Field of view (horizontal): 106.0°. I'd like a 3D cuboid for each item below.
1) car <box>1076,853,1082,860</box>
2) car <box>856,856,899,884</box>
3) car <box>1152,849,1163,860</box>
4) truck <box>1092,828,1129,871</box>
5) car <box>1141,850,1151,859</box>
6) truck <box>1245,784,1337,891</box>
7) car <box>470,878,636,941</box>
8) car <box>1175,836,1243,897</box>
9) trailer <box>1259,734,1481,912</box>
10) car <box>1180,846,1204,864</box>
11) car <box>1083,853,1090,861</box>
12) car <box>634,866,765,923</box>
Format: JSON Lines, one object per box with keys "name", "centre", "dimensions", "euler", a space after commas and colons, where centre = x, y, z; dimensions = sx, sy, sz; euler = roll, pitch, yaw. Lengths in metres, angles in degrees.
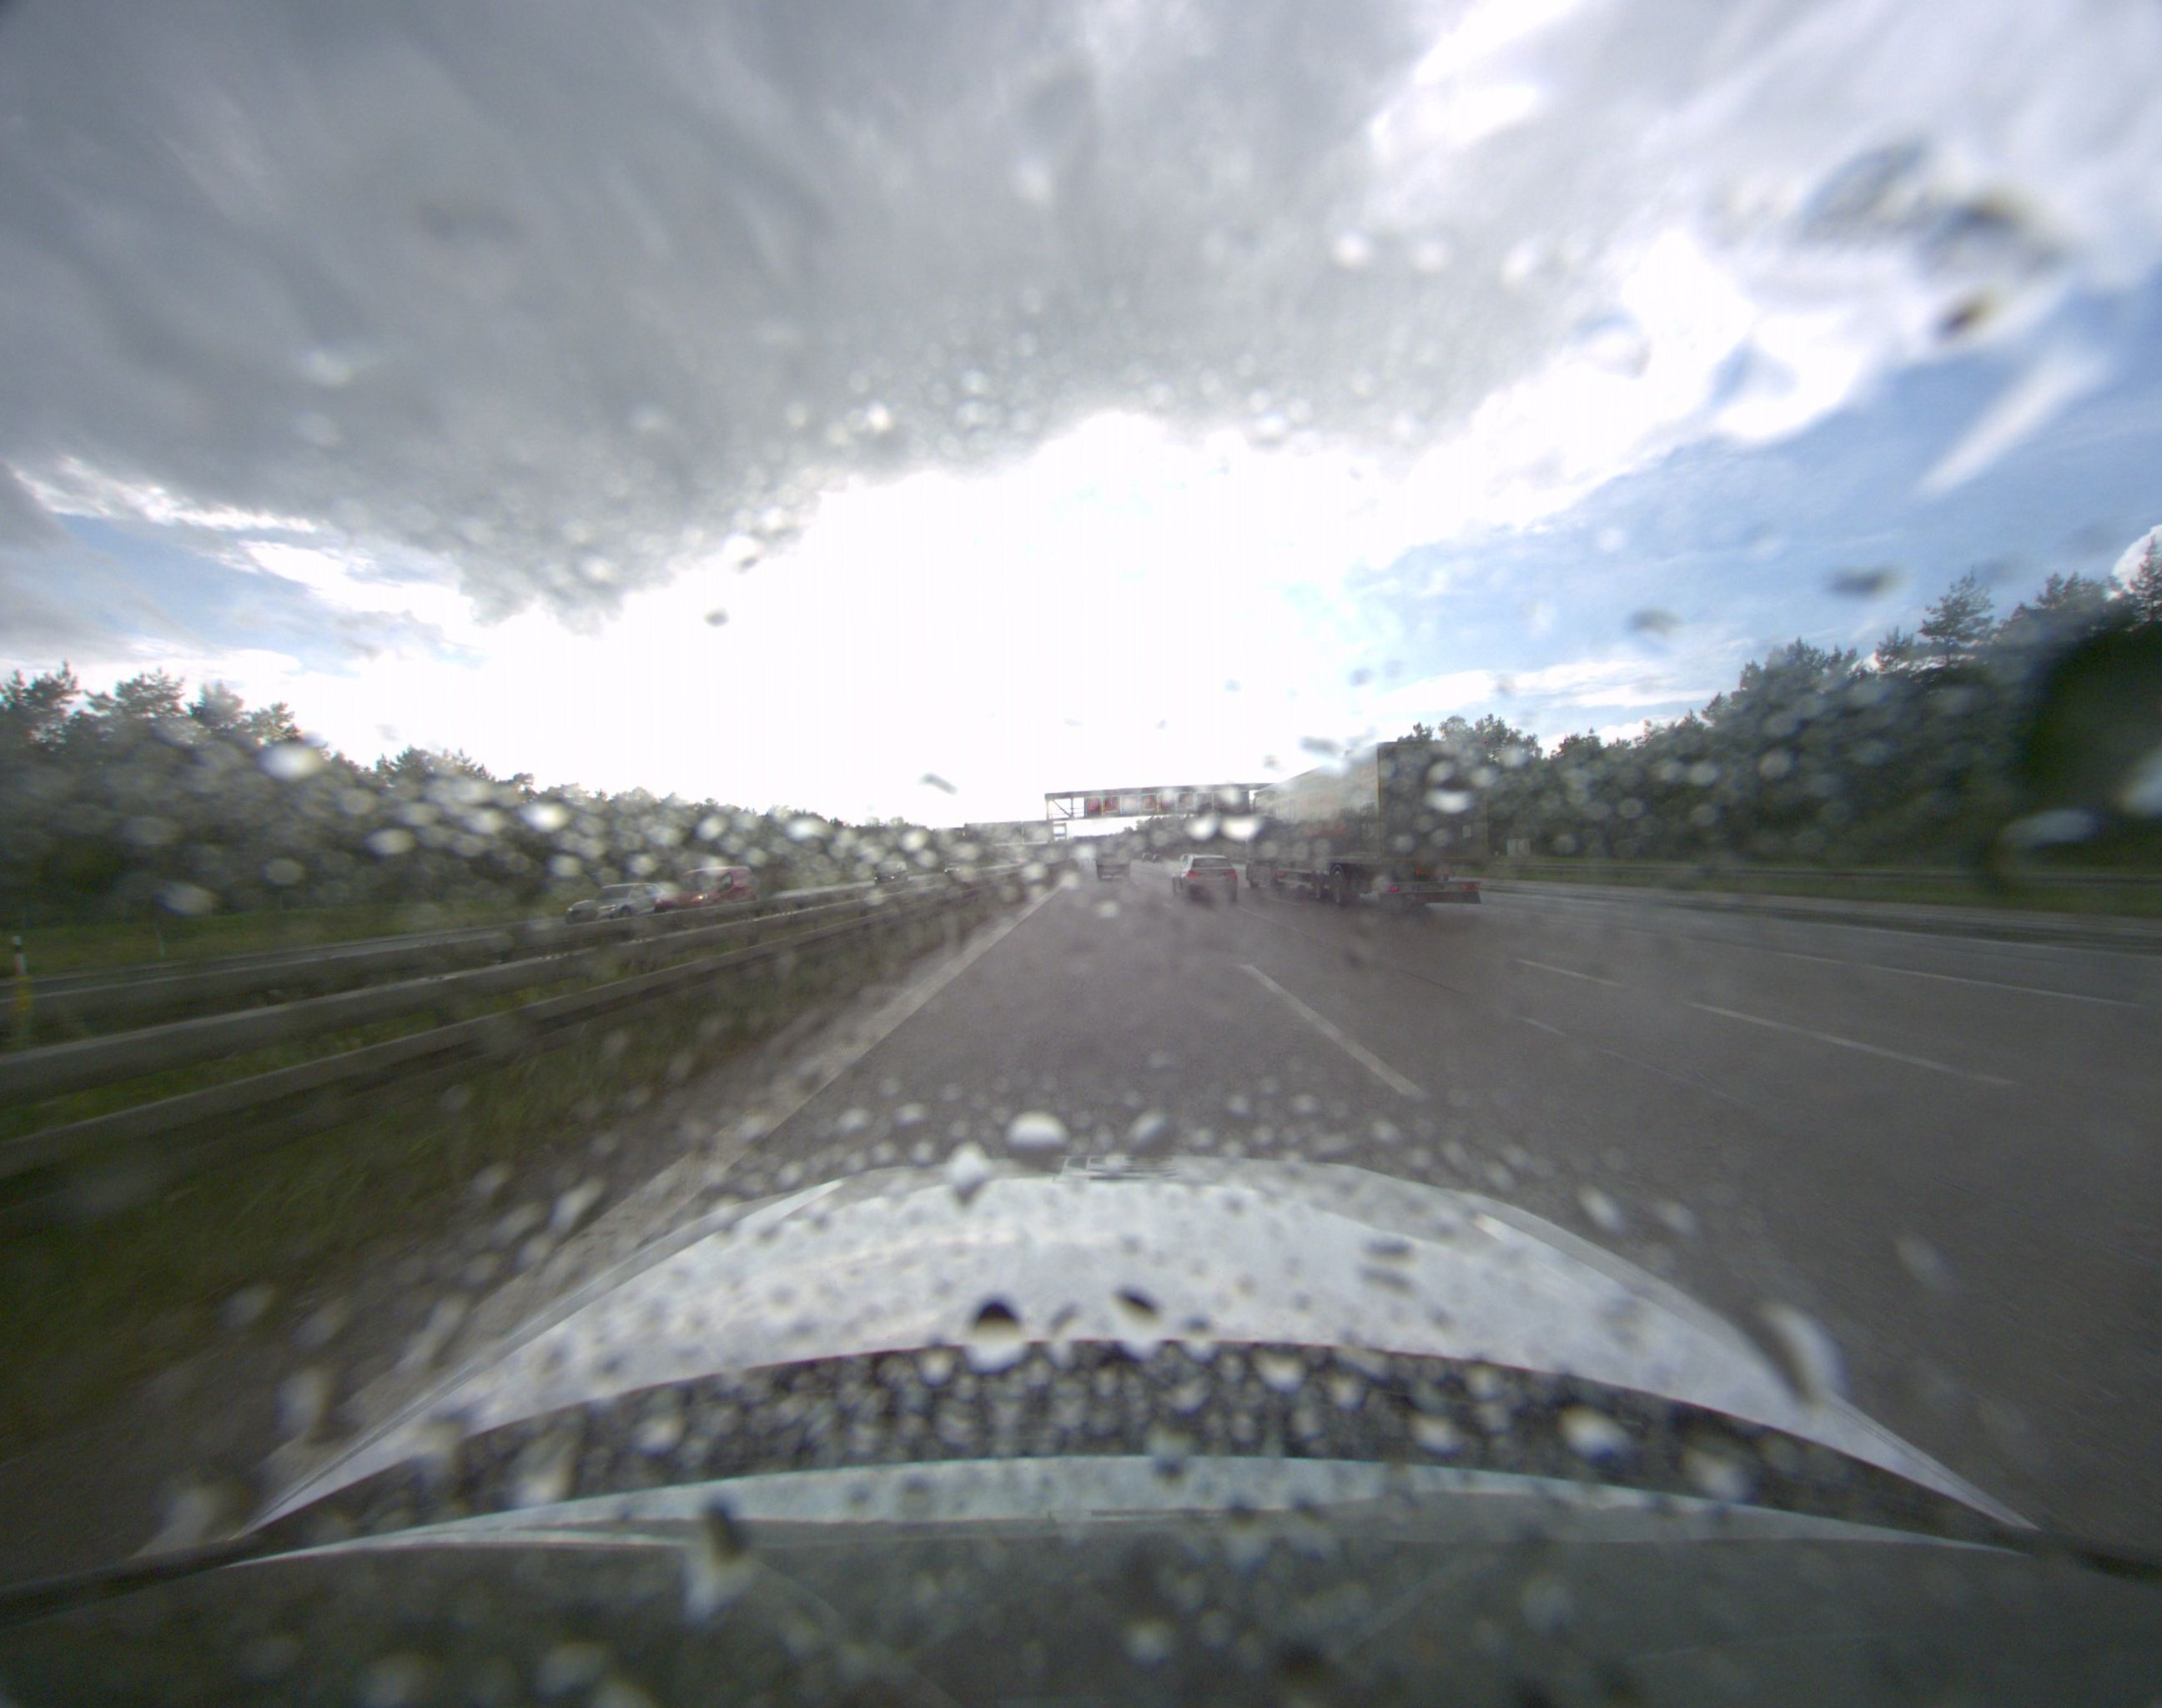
{"name": "car", "centre": [-0.621, 0.754, 257.589], "dimensions": [1.787, 2.013, 4.003], "euler": [0, 0, 3]}
{"name": "car", "centre": [-15.935, 1.230, 64.008], "dimensions": [1.986, 1.916, 4.725], "euler": [-5, 0, 1]}
{"name": "car", "centre": [13.447, 0.057, 143.075], "dimensions": [1.984, 2.013, 4.005], "euler": [0, 0, 4]}
{"name": "truck", "centre": [1.930, -0.301, 51.231], "dimensions": [2.128, 2.489, 5.318], "euler": [-1, 0, 4]}
{"name": "car", "centre": [13.470, 0.057, 168.898], "dimensions": [1.734, 1.688, 4.001], "euler": [-2, 0, 1]}
{"name": "truck", "centre": [8.246, -0.626, 32.559], "dimensions": [2.285, 3.868, 5.393], "euler": [-2, 0, 1]}
{"name": "car", "centre": [-16.233, 1.648, 25.397], "dimensions": [1.986, 1.500, 4.610], "euler": [-4, 0, 2]}
{"name": "car", "centre": [4.384, 0.400, 28.453], "dimensions": [2.067, 1.885, 5.021], "euler": [-2, 0, 7]}
{"name": "trailer", "centre": [8.070, -0.736, 25.303], "dimensions": [2.315, 4.001, 13.415], "euler": [-2, 0, 1]}
{"name": "car", "centre": [9.570, 0.084, 70.484], "dimensions": [1.822, 1.466, 4.006], "euler": [-1, 0, 5]}
{"name": "car", "centre": [1.385, 0.661, 210.344], "dimensions": [1.611, 2.013, 4.001], "euler": [0, 0, 1]}
{"name": "car", "centre": [-12.376, 1.252, 26.778], "dimensions": [1.986, 1.609, 4.610], "euler": [-1, 0, 2]}
